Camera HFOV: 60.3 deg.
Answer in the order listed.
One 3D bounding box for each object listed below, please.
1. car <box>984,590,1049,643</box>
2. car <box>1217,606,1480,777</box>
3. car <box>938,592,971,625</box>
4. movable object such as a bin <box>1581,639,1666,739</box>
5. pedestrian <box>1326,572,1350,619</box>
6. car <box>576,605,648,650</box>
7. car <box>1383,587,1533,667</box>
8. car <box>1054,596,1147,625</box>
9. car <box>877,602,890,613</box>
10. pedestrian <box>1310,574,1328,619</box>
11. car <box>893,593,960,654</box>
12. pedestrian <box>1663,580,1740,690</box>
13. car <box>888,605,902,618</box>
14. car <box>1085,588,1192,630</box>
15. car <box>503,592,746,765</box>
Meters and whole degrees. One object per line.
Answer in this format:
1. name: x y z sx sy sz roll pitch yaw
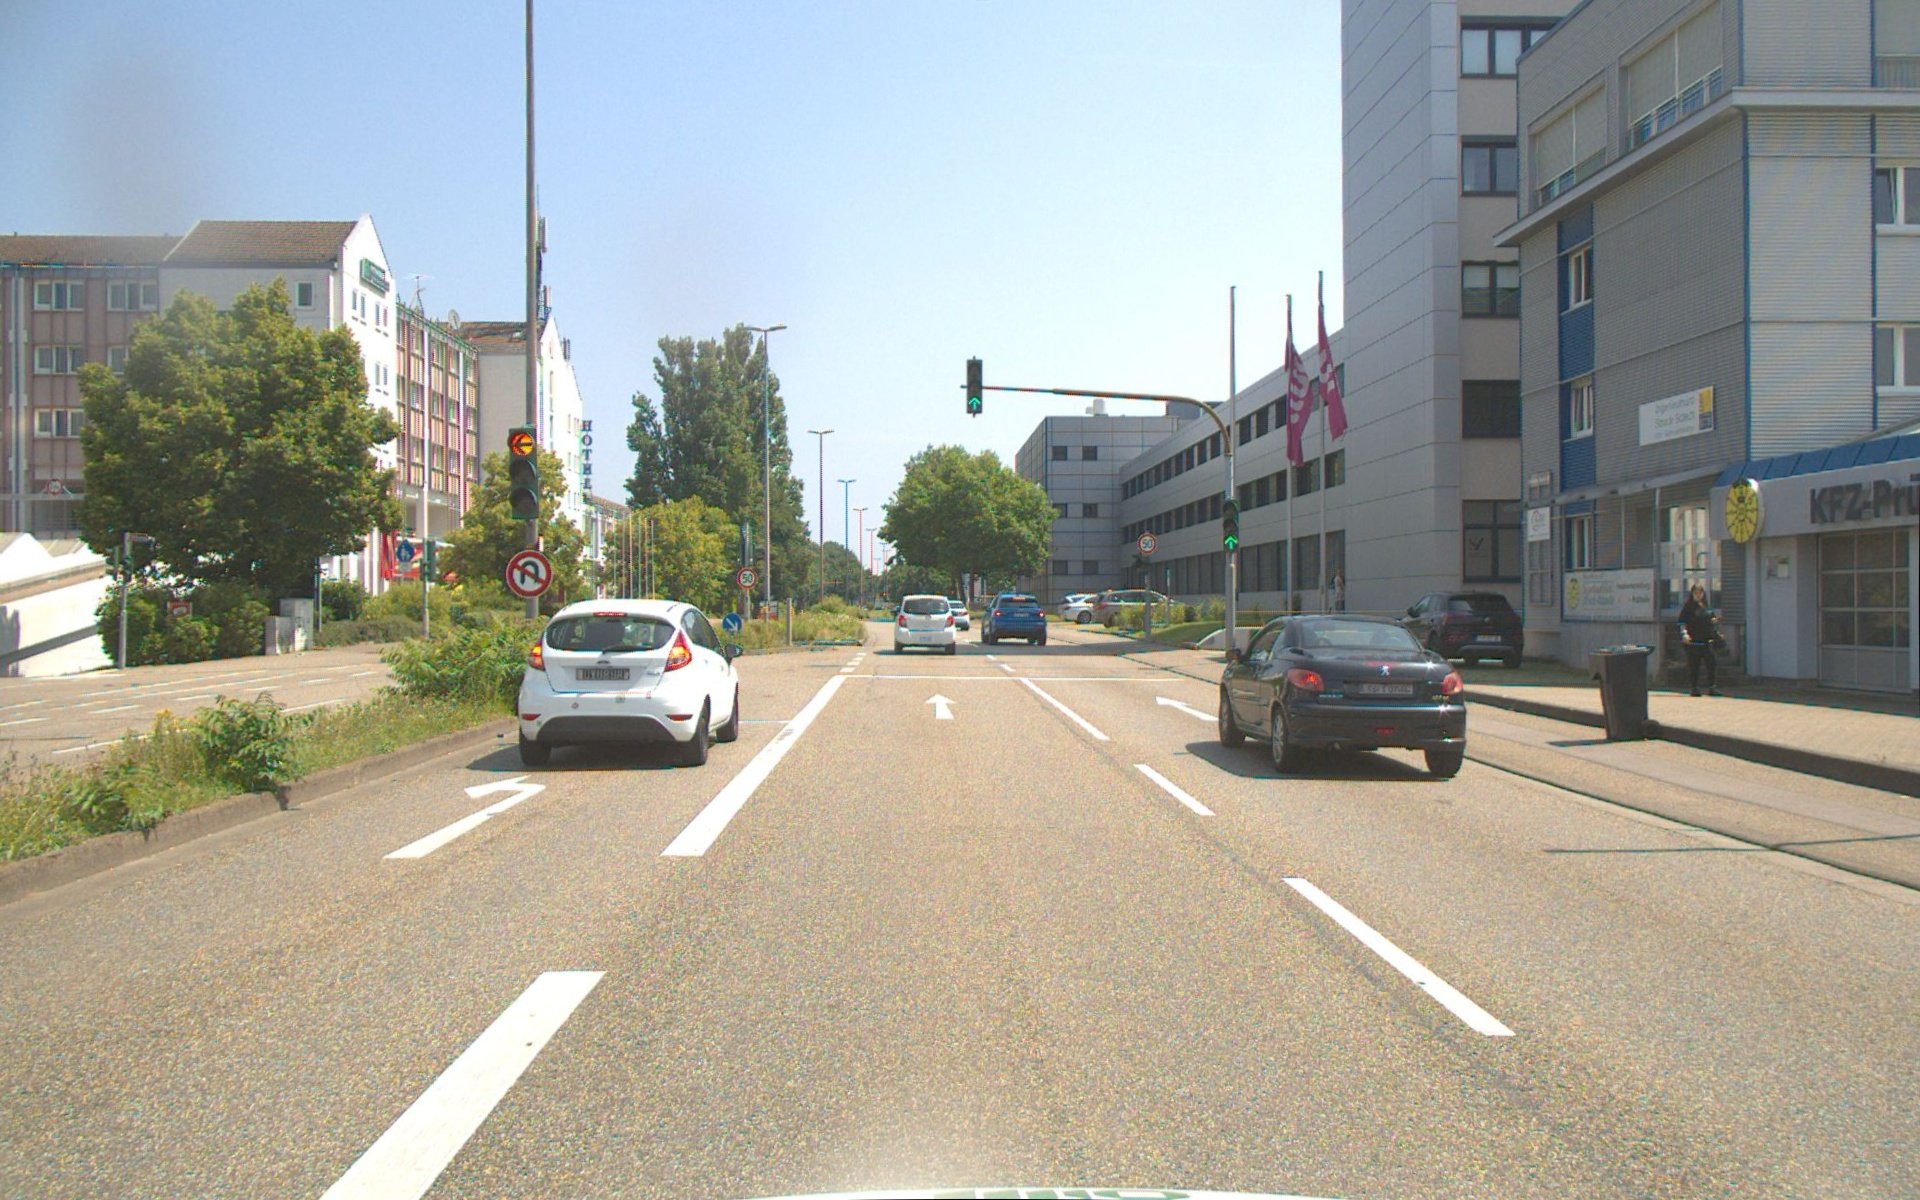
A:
1. car: 1.784 0.507 53.481 1.791 1.608 3.603 -1 0 -3
2. car: 3.529 0.773 15.633 1.594 1.388 3.605 0 0 -1
3. car: -0.248 0.389 79.446 1.527 1.546 3.606 -1 0 1
4. movable object such as a bin: 6.695 0.889 16.703 0.540 0.935 0.652 -4 0 -1
5. pedestrian: 13.731 -0.170 60.112 0.514 1.692 0.753 -1 0 -19
6. car: -12.516 0.954 59.701 1.954 1.512 4.497 -1 0 -5
7. car: 10.452 0.536 35.037 1.806 1.558 4.195 1 0 -2
8. car: 7.275 0.526 85.742 4.524 1.414 1.997 -1 0 -6
9. car: -11.836 1.163 254.429 1.784 1.691 3.995 -1 1 -6
10. pedestrian: 13.410 -0.132 61.779 0.580 1.663 0.523 -1 0 6
11. car: -0.887 0.590 44.489 1.712 1.546 3.745 1 0 0
12. pedestrian: 11.414 0.529 25.488 0.793 1.655 0.853 -1 0 1
13. car: -8.261 1.464 210.977 1.783 1.691 3.998 -1 0 -3
14. car: 7.564 0.371 70.129 4.177 1.719 1.997 -1 0 -7
15. car: -3.094 0.658 15.948 1.654 1.459 3.710 -1 0 -1
